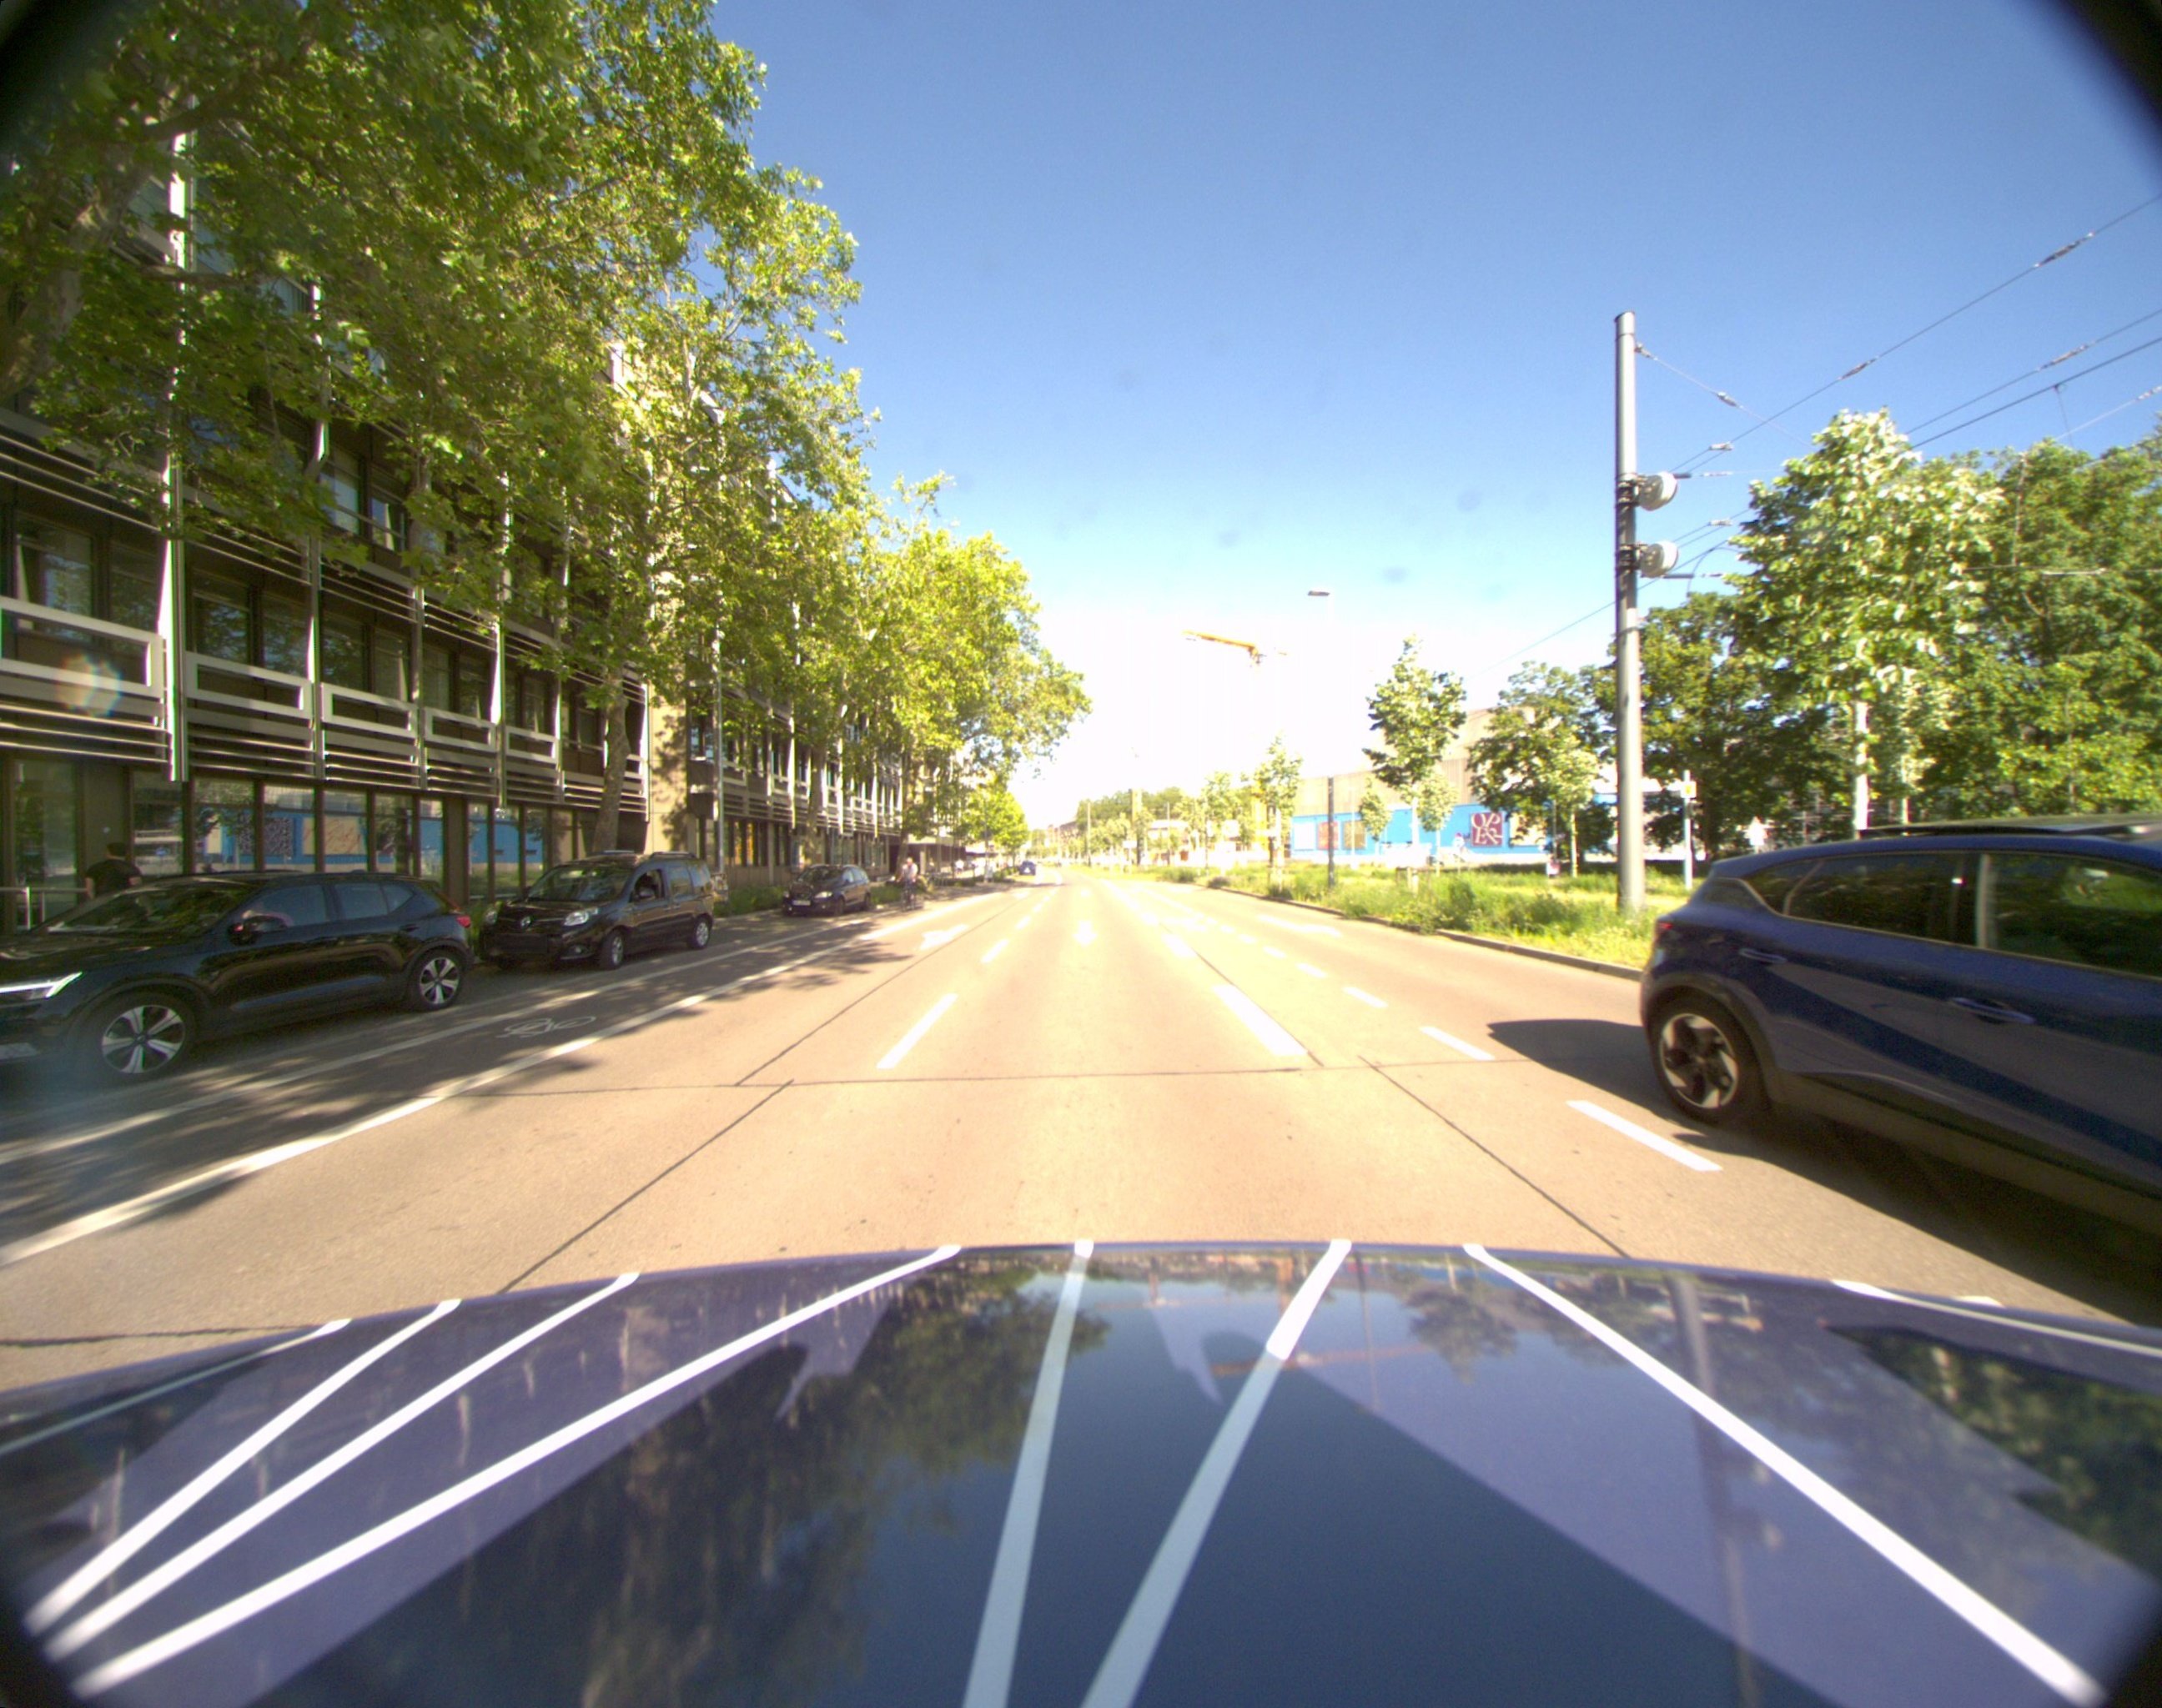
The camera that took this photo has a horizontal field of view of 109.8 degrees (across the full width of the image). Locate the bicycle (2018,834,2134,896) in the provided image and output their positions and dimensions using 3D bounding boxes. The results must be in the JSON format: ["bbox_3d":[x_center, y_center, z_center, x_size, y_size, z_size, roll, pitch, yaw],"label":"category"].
[{"bbox_3d":[24.516,0.260,18.770,0.361,1.447,1.914,-1,0,1],"label":"bicycle"}]

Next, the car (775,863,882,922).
[{"bbox_3d":[-7.936,1.141,24.388,1.708,1.633,4.637,1,0,2],"label":"car"}]

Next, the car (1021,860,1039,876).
[{"bbox_3d":[-5.849,1.590,87.621,1.854,1.647,4.847,1,0,-2],"label":"car"}]

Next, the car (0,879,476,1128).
[{"bbox_3d":[-8.184,1.094,7.056,1.708,1.554,4.192,-1,0,1],"label":"car"}]

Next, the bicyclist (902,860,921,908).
[{"bbox_3d":[-5.669,0.992,25.431,0.514,1.592,0.536,-1,1,-4],"label":"bicyclist"}]

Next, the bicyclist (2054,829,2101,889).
[{"bbox_3d":[24.517,0.120,18.704,0.395,1.446,0.539,-3,1,0],"label":"bicyclist"}]

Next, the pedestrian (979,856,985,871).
[{"bbox_3d":[-9.850,0.987,75.809,0.512,1.466,0.736,-1,0,0],"label":"pedestrian"}]

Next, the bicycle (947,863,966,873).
[{"bbox_3d":[-13.193,1.512,80.527,1.862,1.005,0.427,1,1,1],"label":"bicycle"}]

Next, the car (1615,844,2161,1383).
[{"bbox_3d":[4.161,0.788,2.534,1.749,1.613,4.152,-2,0,-1],"label":"car"}]

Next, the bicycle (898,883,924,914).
[{"bbox_3d":[-5.657,1.464,25.363,0.499,0.900,2.196,-3,0,-4],"label":"bicycle"}]

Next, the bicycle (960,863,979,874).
[{"bbox_3d":[-11.615,1.467,79.219,1.862,1.091,0.427,1,1,1],"label":"bicycle"}]

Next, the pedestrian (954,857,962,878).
[{"bbox_3d":[-9.889,1.083,61.183,0.512,1.691,0.774,-1,0,0],"label":"pedestrian"}]

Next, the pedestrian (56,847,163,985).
[{"bbox_3d":[-13.981,0.870,10.949,0.678,1.905,0.557,-3,1,1],"label":"pedestrian"}]

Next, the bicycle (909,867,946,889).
[{"bbox_3d":[-8.615,1.344,42.686,1.942,1.229,0.579,1,0,-3],"label":"bicycle"}]

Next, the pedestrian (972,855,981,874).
[{"bbox_3d":[-9.322,0.933,68.038,0.649,1.718,0.803,-1,0,0],"label":"pedestrian"}]

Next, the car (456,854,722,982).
[{"bbox_3d":[-7.972,0.920,12.872,1.708,1.779,4.192,1,0,1],"label":"car"}]

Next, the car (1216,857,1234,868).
[{"bbox_3d":[19.665,1.142,103.624,1.637,1.390,3.833,-1,0,-1],"label":"car"}]

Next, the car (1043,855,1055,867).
[{"bbox_3d":[-5.449,1.167,129.566,1.822,1.783,3.999,-3,1,1],"label":"car"}]
